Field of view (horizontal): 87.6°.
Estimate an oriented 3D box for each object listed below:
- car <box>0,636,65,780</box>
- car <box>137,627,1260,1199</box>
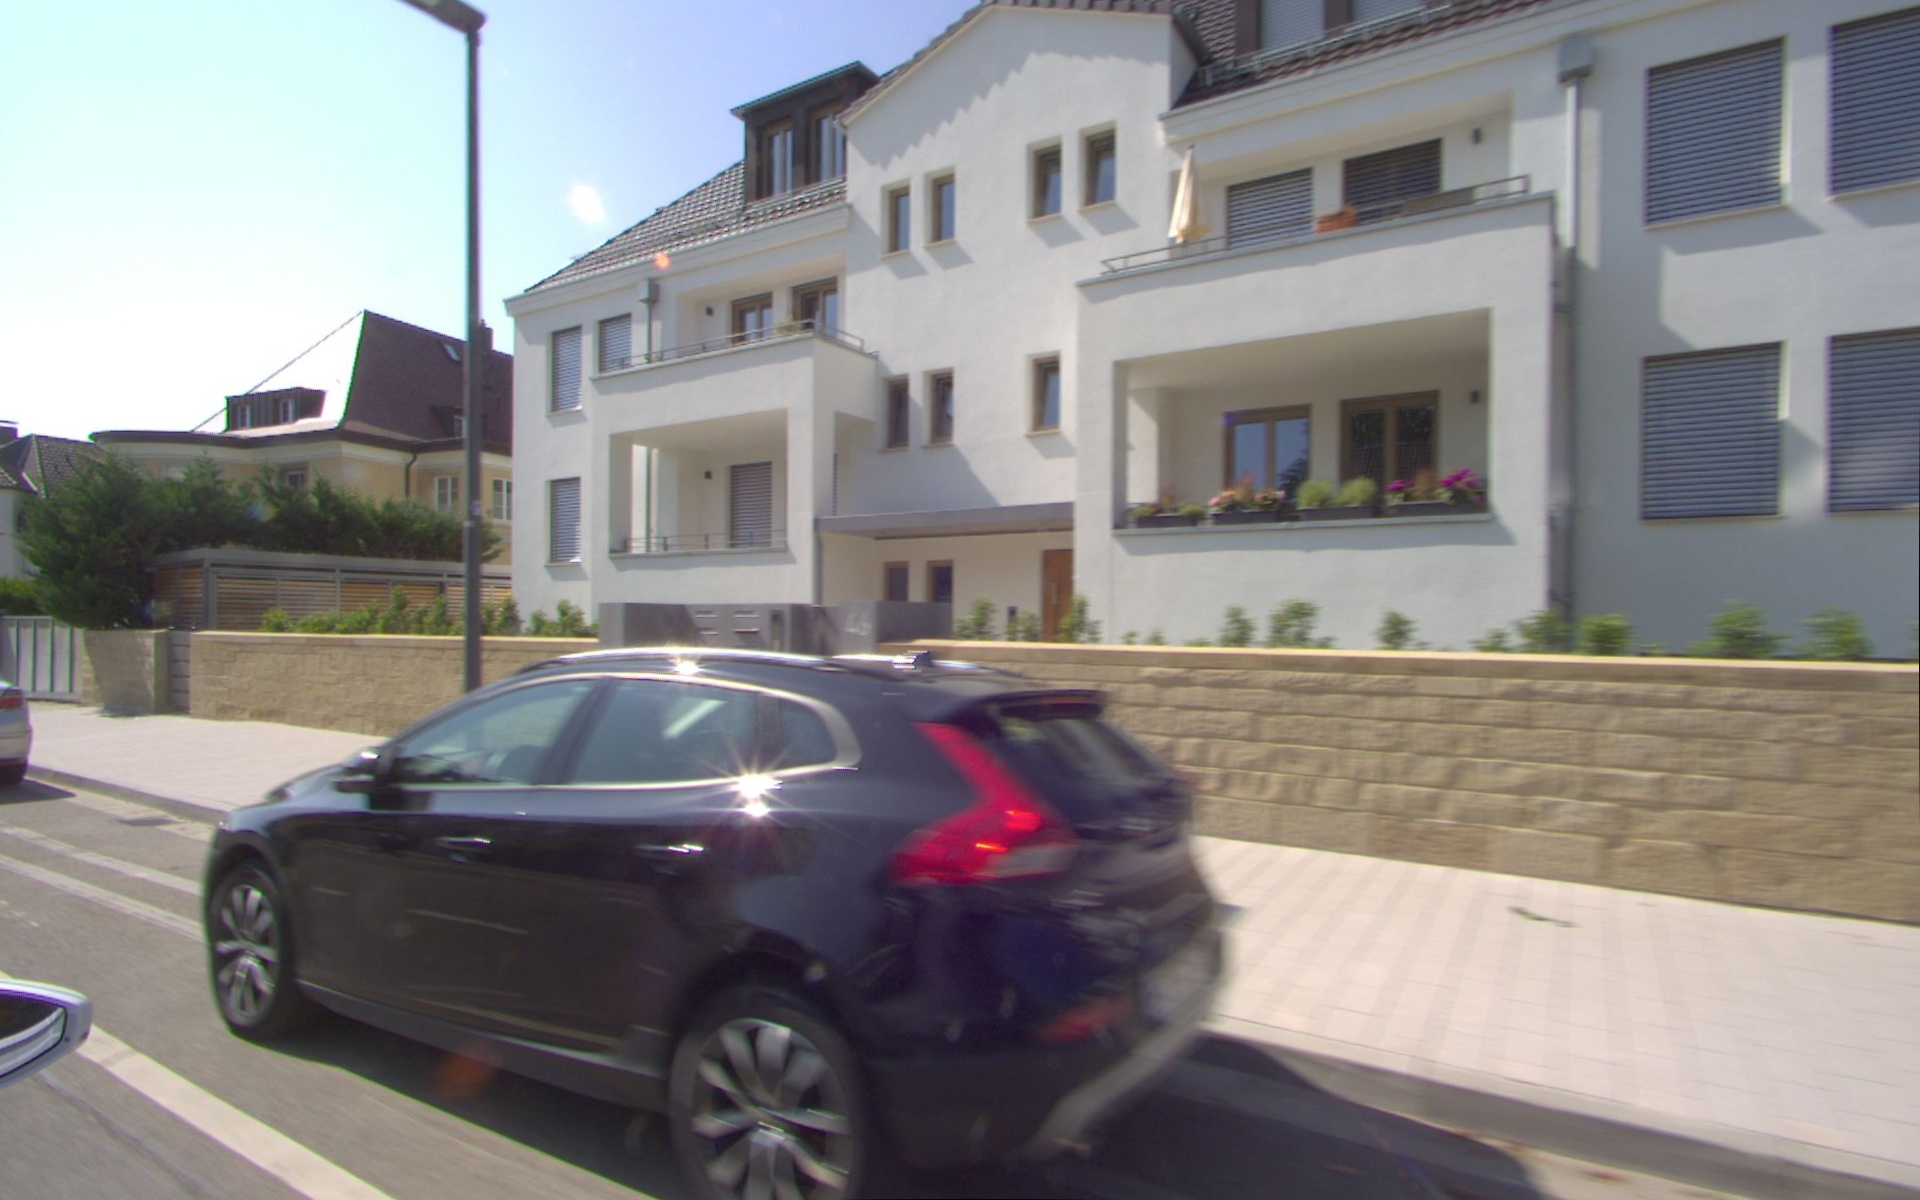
[{"bbox_3d":[-10.915,1.023,10.122,4.019,1.345,1.735,-2,-5,33],"label":"car"},{"bbox_3d":[-1.154,0.905,3.822,4.107,1.466,1.721,0,-5,31],"label":"car"}]
